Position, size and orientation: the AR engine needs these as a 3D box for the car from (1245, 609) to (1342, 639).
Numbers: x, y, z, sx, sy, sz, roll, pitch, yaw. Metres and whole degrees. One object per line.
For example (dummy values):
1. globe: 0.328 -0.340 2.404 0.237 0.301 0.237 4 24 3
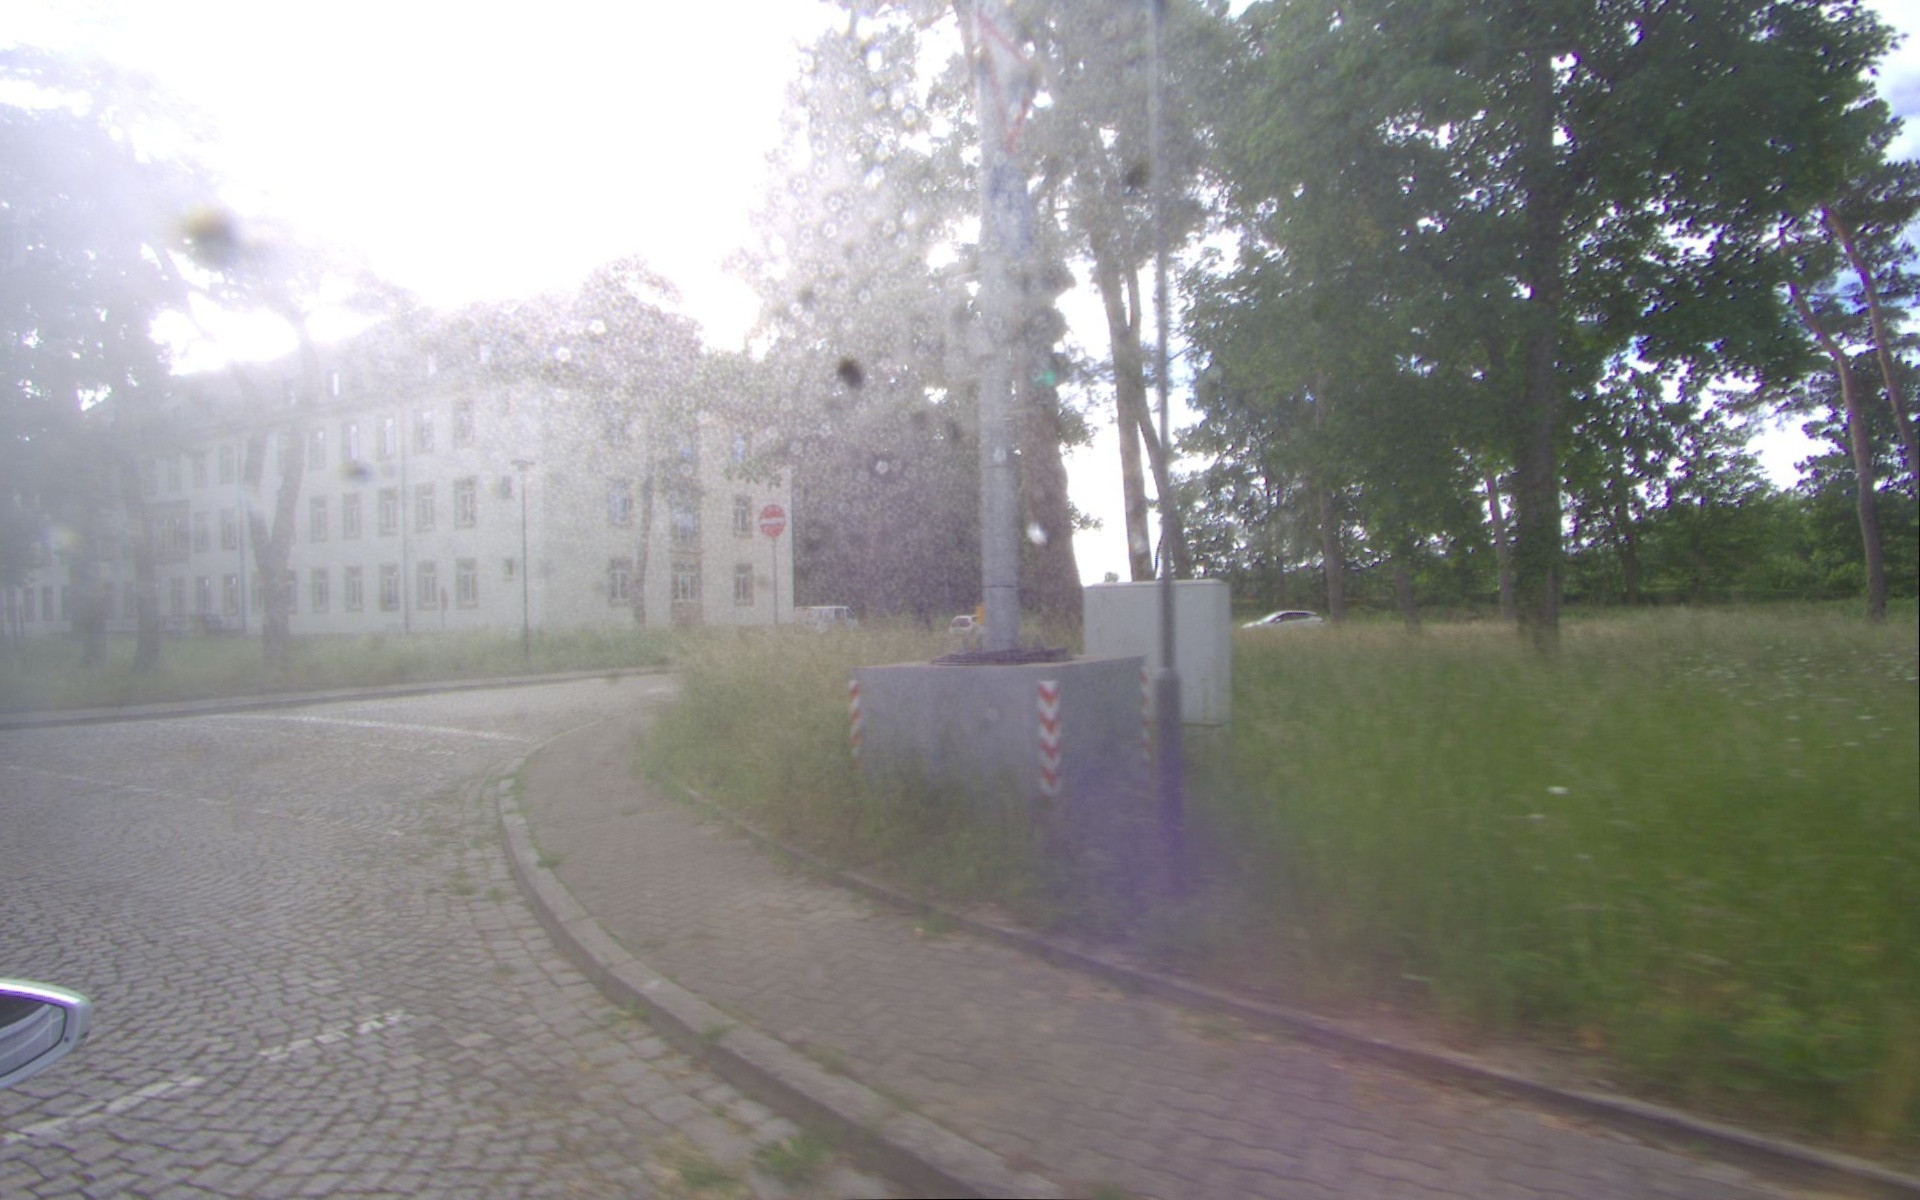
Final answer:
1. car: 16.674 1.189 50.163 4.176 1.434 1.887 -1 -1 -8

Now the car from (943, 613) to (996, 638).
1. car: 0.629 1.590 64.034 1.971 1.527 3.477 -1 -1 30

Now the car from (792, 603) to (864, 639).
1. car: -8.967 1.420 68.654 2.181 2.318 5.172 -1 -1 31
